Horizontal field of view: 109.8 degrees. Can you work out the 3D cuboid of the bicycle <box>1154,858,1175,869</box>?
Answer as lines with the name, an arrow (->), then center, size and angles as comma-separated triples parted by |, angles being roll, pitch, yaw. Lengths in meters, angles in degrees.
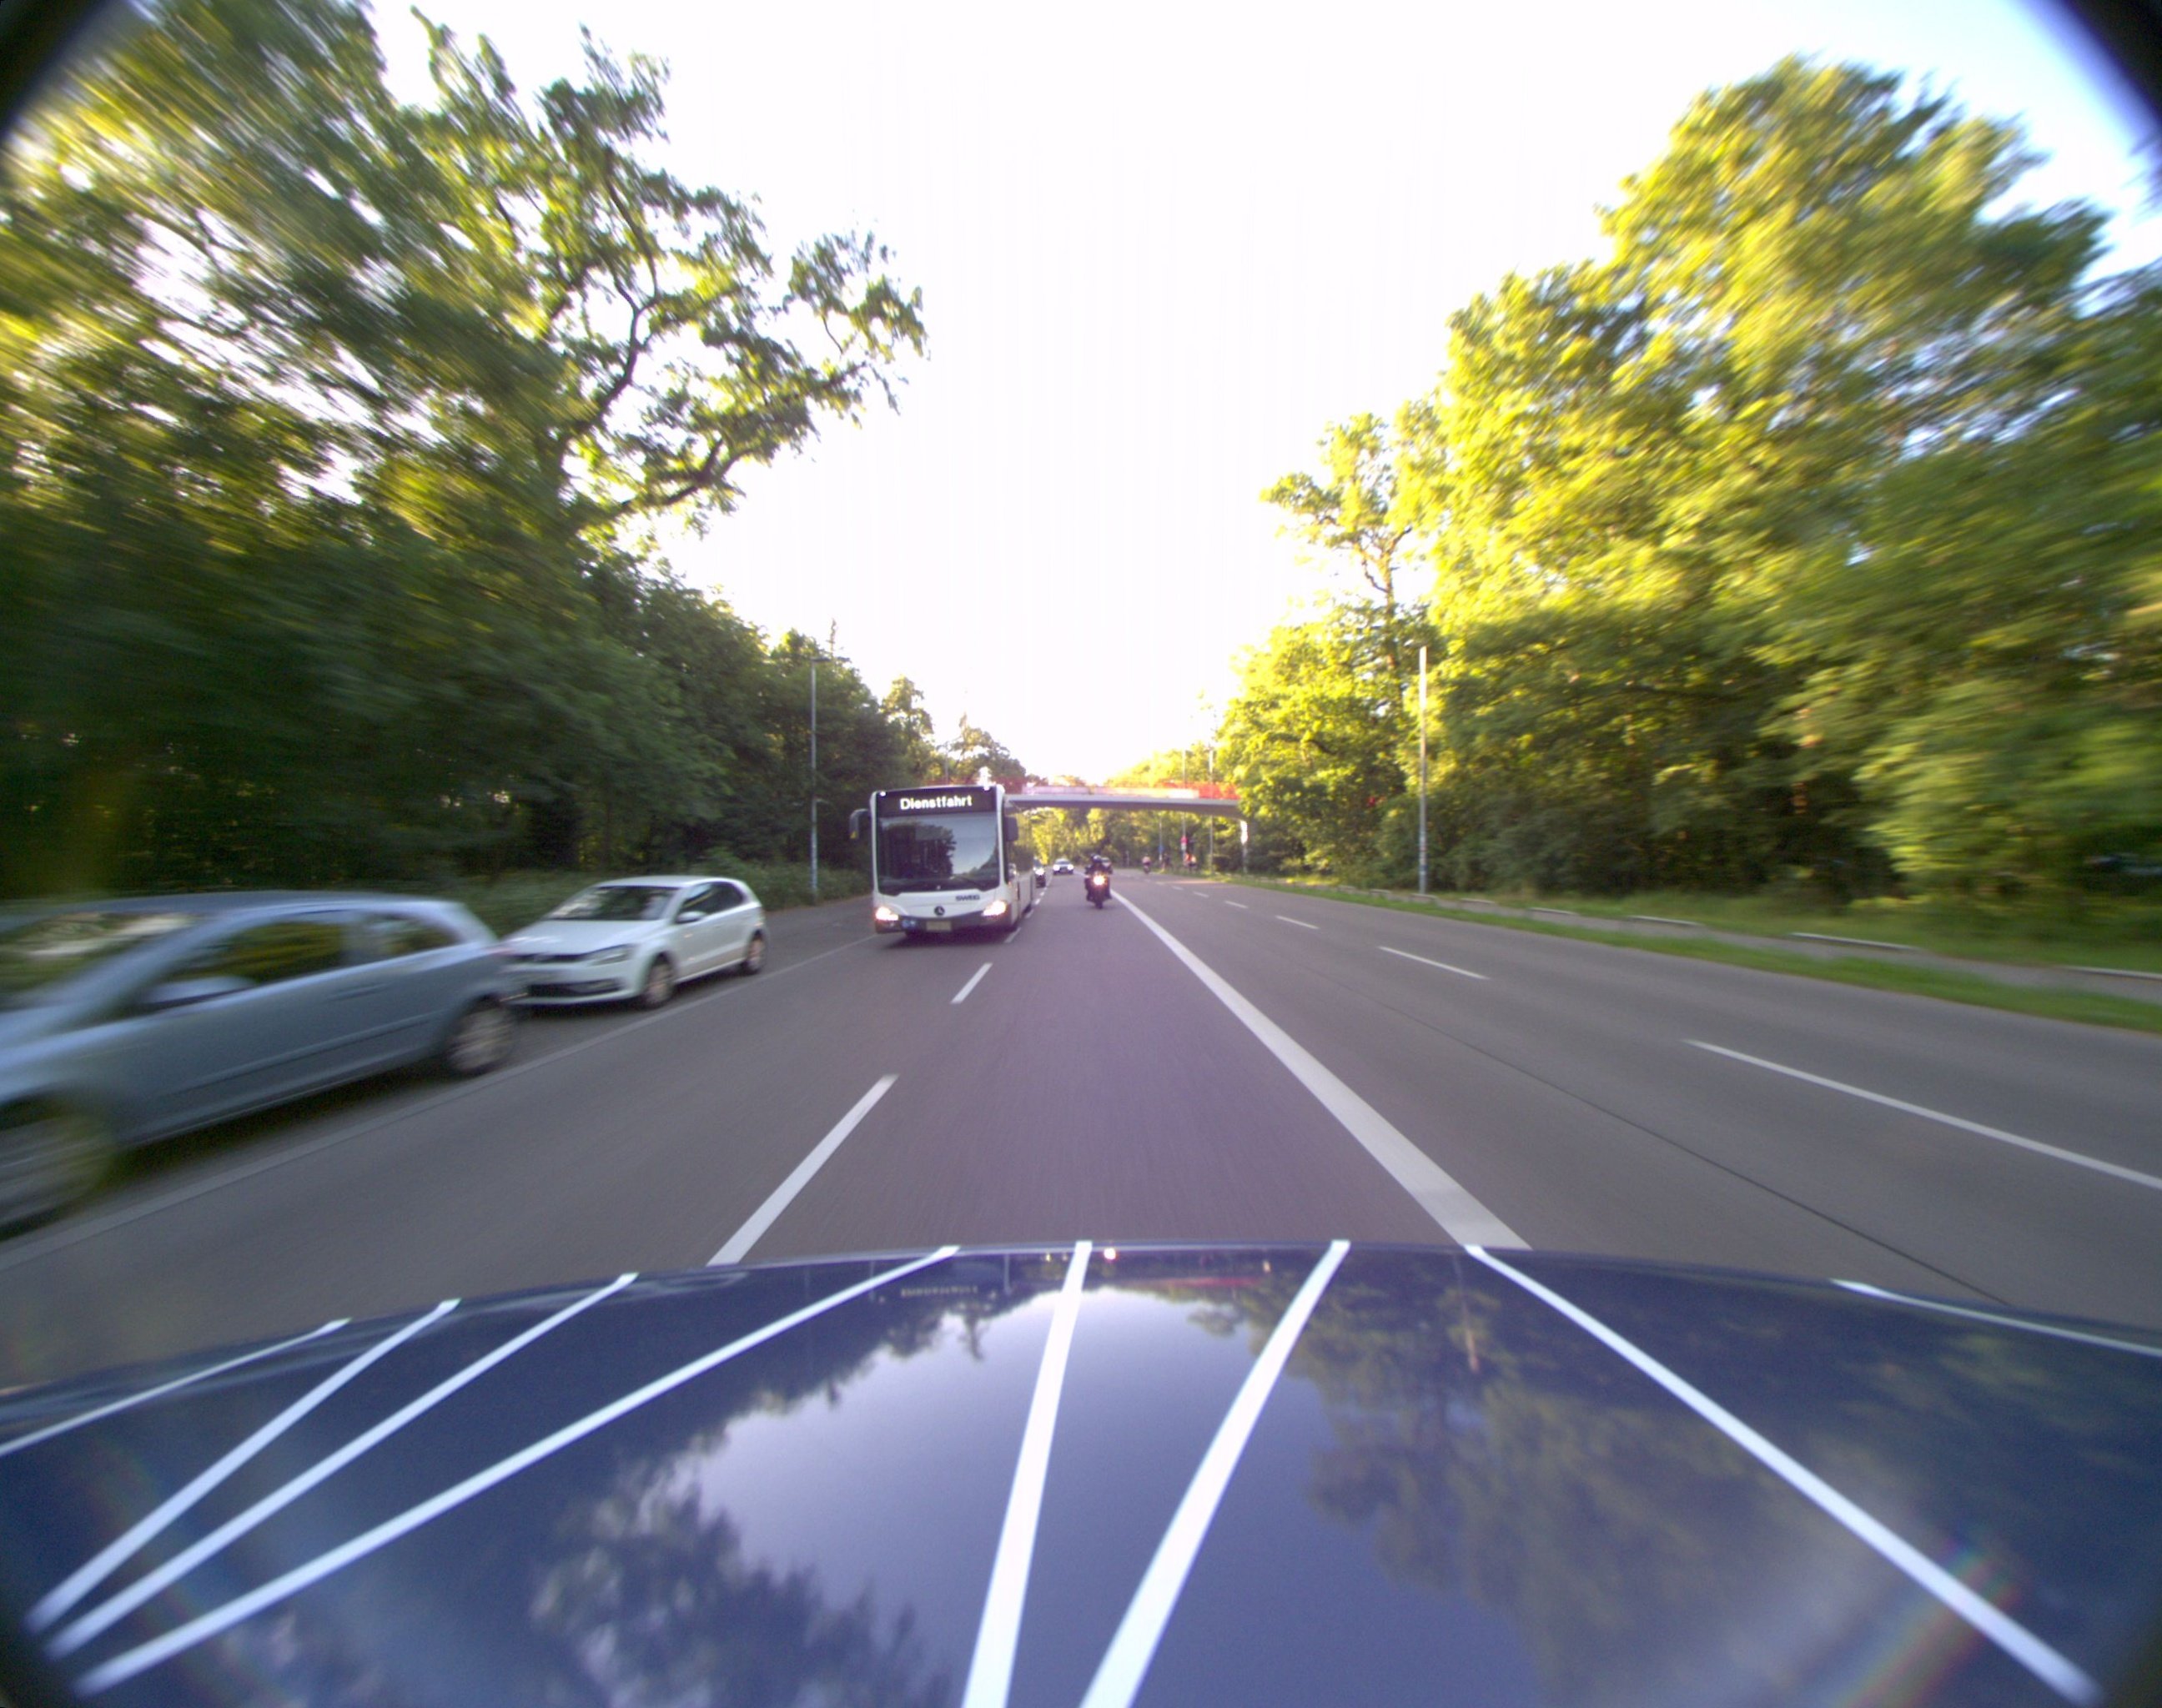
bicycle -> 7.747, 0.863, 70.556 | 1.930, 0.929, 0.825 | -1, 0, 7

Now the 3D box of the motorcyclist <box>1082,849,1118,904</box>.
motorcyclist -> 0.543, 0.655, 22.551 | 0.953, 1.523, 1.074 | -3, 0, 0

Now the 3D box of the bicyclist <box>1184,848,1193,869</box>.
bicyclist -> 10.108, 0.408, 71.348 | 0.797, 1.890, 0.817 | -1, 0, 7

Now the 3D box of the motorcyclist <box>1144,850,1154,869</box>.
motorcyclist -> 5.631, 0.441, 63.039 | 0.726, 1.496, 0.671 | -2, 1, -1

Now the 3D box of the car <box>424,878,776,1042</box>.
car -> -5.557, 1.108, 9.520 | 1.732, 1.433, 4.100 | 1, 0, 1

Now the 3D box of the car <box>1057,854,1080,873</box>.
car -> -1.271, 0.914, 73.679 | 1.999, 1.761, 4.230 | -2, 0, -3

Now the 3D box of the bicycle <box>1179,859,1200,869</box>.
bicycle -> 10.158, 0.925, 71.357 | 1.930, 0.929, 0.825 | -1, 0, 7

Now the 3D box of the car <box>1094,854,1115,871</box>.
car -> 2.078, 0.773, 68.125 | 1.686, 1.398, 3.889 | -3, 0, -1

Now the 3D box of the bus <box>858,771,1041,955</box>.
bus -> -2.646, 0.144, 19.641 | 2.711, 3.203, 12.277 | -2, 0, -1

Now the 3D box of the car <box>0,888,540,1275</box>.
car -> -5.547, 1.068, 4.374 | 1.732, 1.535, 4.217 | 0, 0, 2

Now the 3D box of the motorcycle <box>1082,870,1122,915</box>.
motorcycle -> 0.573, 1.083, 22.300 | 0.956, 1.098, 3.339 | -4, 0, -1

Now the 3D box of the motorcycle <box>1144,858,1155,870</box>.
motorcycle -> 5.633, 0.829, 62.925 | 0.638, 0.989, 2.077 | -2, 0, -1

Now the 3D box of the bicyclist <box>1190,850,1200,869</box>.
bicyclist -> 10.514, 0.491, 69.988 | 0.797, 1.687, 0.946 | -1, 0, 7

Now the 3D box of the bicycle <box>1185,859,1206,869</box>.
bicycle -> 10.525, 0.910, 70.007 | 1.930, 0.929, 0.825 | -1, 0, 7

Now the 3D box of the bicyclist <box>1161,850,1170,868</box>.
bicyclist -> 7.853, 0.490, 70.534 | 0.797, 1.634, 0.842 | -2, 0, 7
